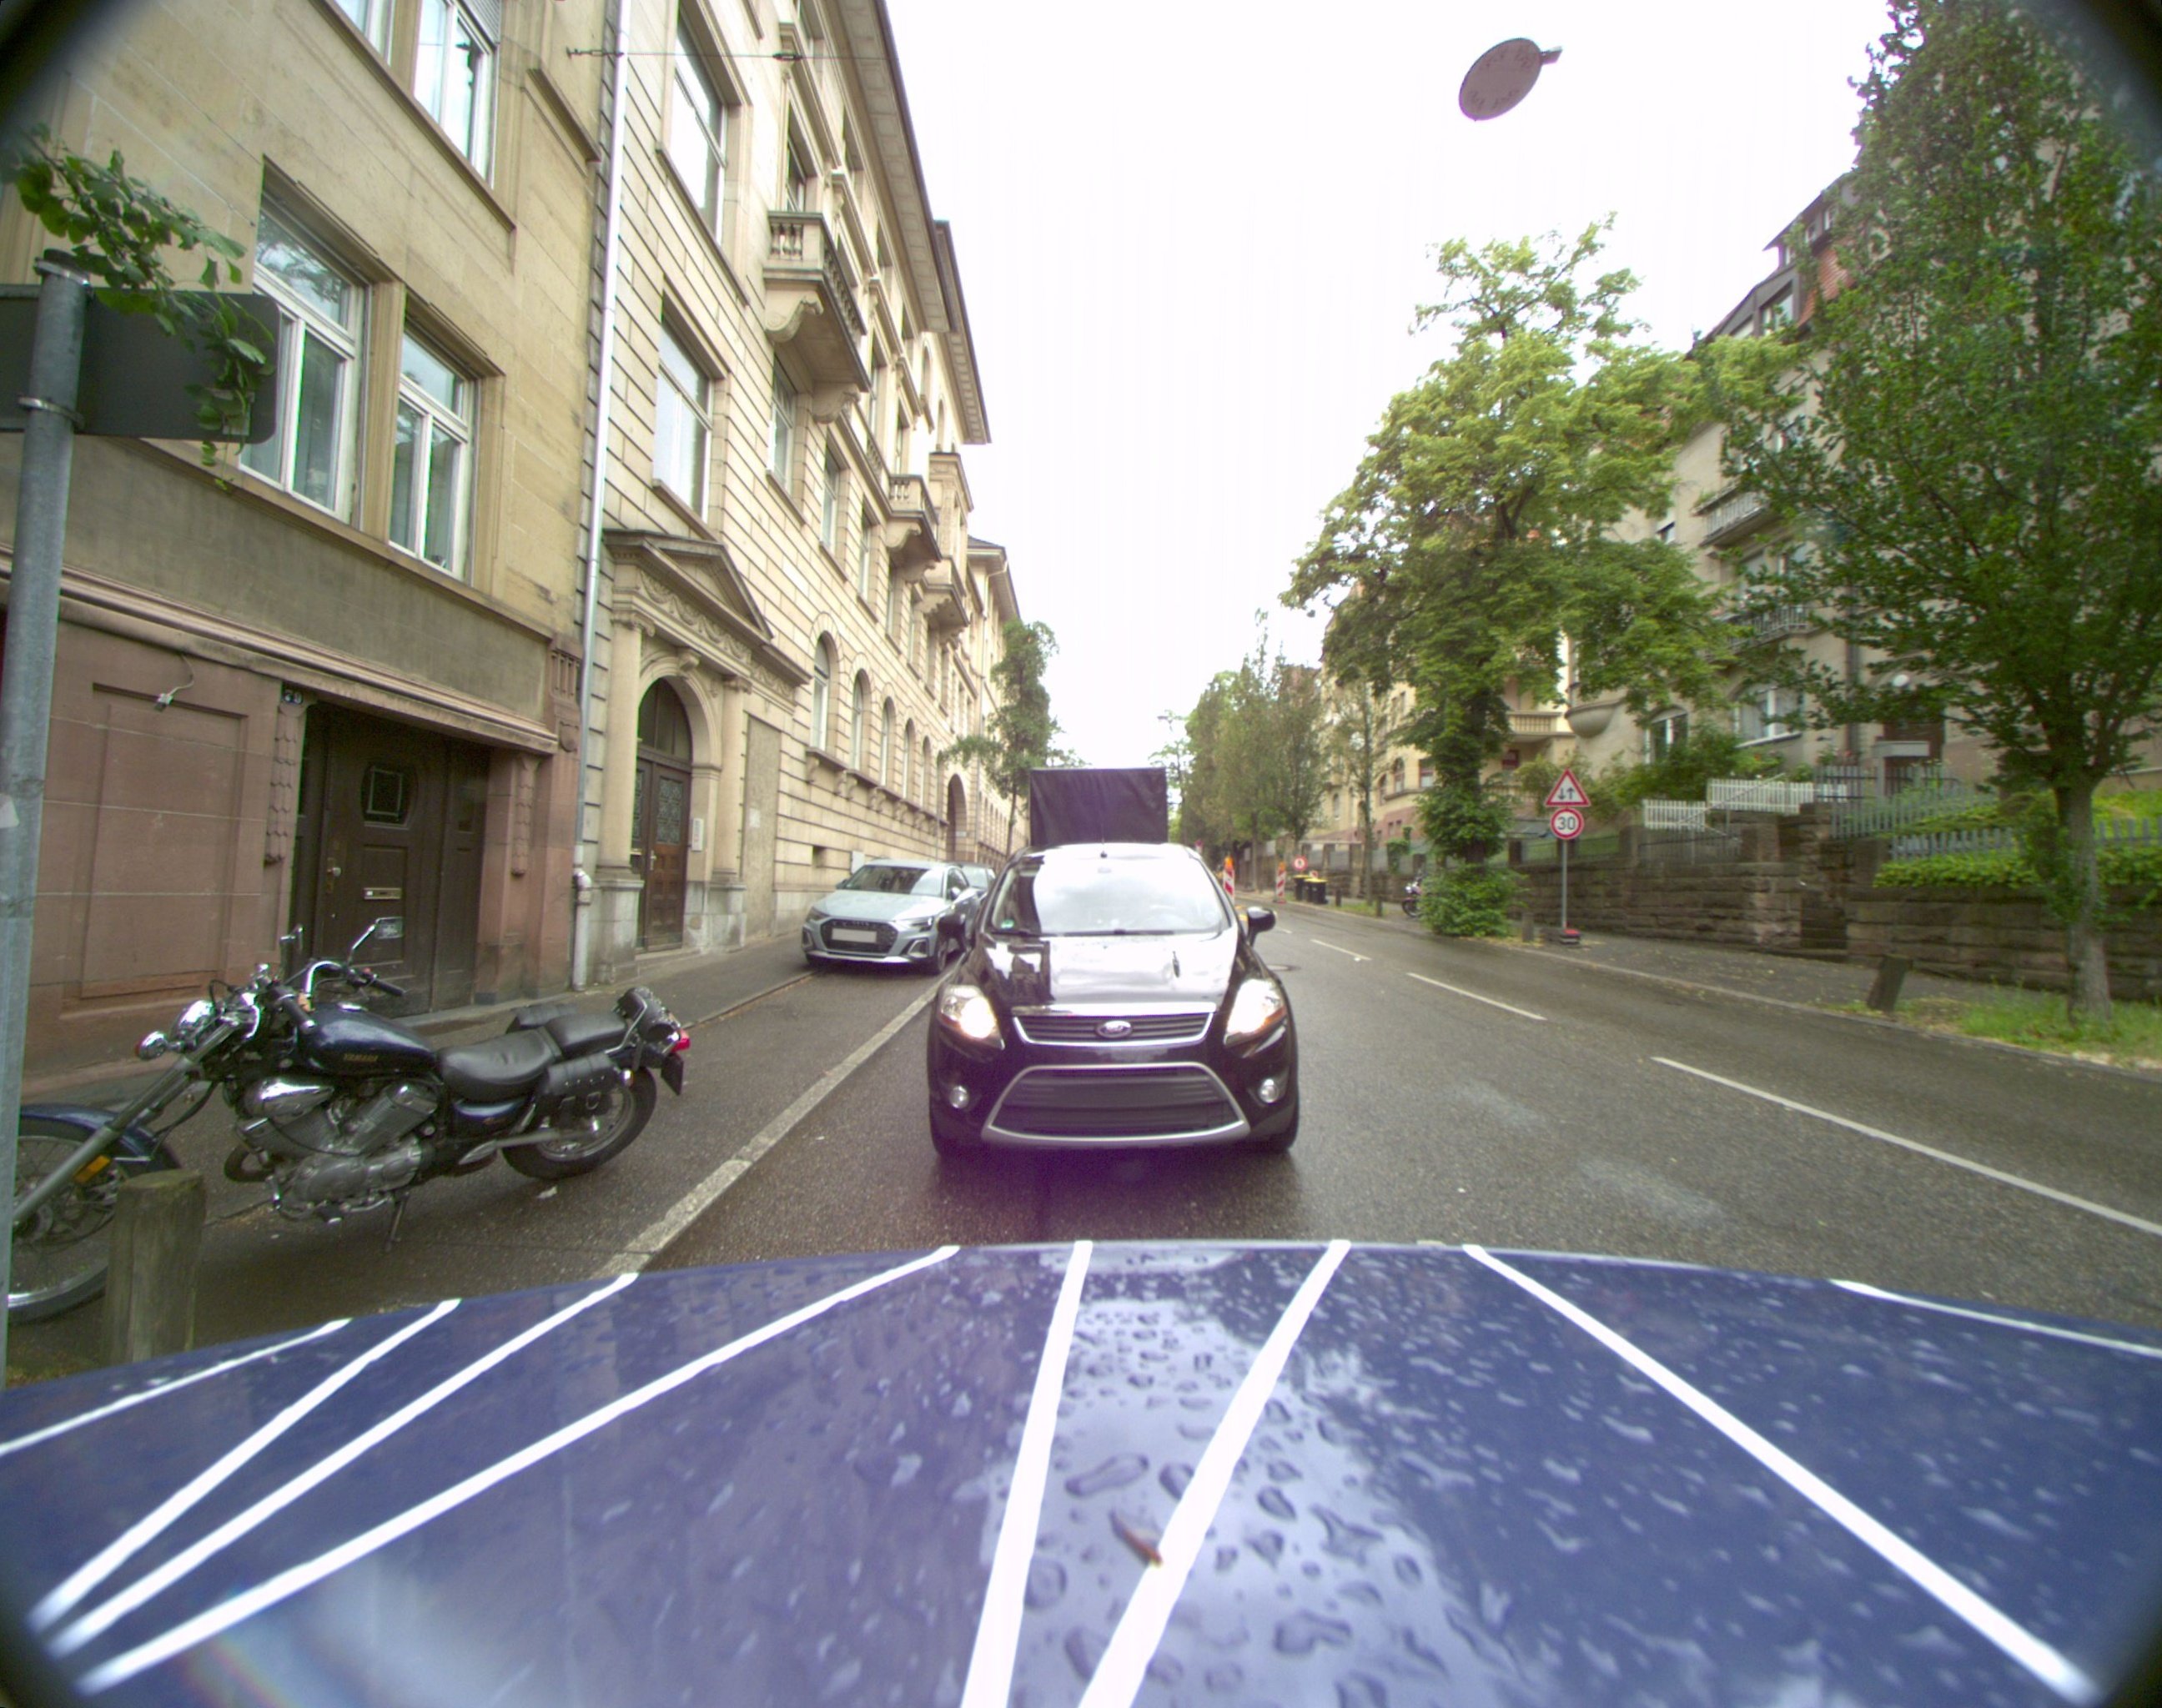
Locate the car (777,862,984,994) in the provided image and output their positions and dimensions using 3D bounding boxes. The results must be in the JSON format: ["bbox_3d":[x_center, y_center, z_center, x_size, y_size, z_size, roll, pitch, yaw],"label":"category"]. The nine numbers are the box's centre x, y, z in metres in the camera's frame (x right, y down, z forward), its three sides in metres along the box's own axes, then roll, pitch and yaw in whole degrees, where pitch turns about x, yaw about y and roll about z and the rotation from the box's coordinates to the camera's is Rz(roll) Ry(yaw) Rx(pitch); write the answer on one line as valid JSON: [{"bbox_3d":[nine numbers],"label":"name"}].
[{"bbox_3d":[-2.650,0.900,11.088,1.794,1.444,4.039,3,0,1],"label":"car"}]

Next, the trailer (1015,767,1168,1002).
[{"bbox_3d":[0.126,0.339,11.315,1.783,2.744,4.816,0,1,0],"label":"trailer"}]

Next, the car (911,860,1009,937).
[{"bbox_3d":[-2.558,0.892,16.720,1.495,1.440,3.181,3,0,1],"label":"car"}]

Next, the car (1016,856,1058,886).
[{"bbox_3d":[-2.394,0.891,42.463,1.910,1.502,4.318,3,0,1],"label":"car"}]

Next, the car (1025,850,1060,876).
[{"bbox_3d":[-2.512,0.577,50.694,1.910,1.502,4.318,3,0,1],"label":"car"}]

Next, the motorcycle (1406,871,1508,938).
[{"bbox_3d":[8.896,1.145,18.200,0.802,1.406,3.061,-2,0,-2],"label":"motorcycle"}]

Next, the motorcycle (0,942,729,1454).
[{"bbox_3d":[-2.573,1.008,2.761,0.523,1.236,2.282,3,-1,39],"label":"motorcycle"}]

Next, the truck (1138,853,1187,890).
[{"bbox_3d":[4.315,0.902,40.899,2.075,1.825,5.154,2,0,1],"label":"truck"}]

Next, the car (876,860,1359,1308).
[{"bbox_3d":[0.194,0.890,5.140,1.823,1.662,4.522,0,0,1],"label":"car"}]
